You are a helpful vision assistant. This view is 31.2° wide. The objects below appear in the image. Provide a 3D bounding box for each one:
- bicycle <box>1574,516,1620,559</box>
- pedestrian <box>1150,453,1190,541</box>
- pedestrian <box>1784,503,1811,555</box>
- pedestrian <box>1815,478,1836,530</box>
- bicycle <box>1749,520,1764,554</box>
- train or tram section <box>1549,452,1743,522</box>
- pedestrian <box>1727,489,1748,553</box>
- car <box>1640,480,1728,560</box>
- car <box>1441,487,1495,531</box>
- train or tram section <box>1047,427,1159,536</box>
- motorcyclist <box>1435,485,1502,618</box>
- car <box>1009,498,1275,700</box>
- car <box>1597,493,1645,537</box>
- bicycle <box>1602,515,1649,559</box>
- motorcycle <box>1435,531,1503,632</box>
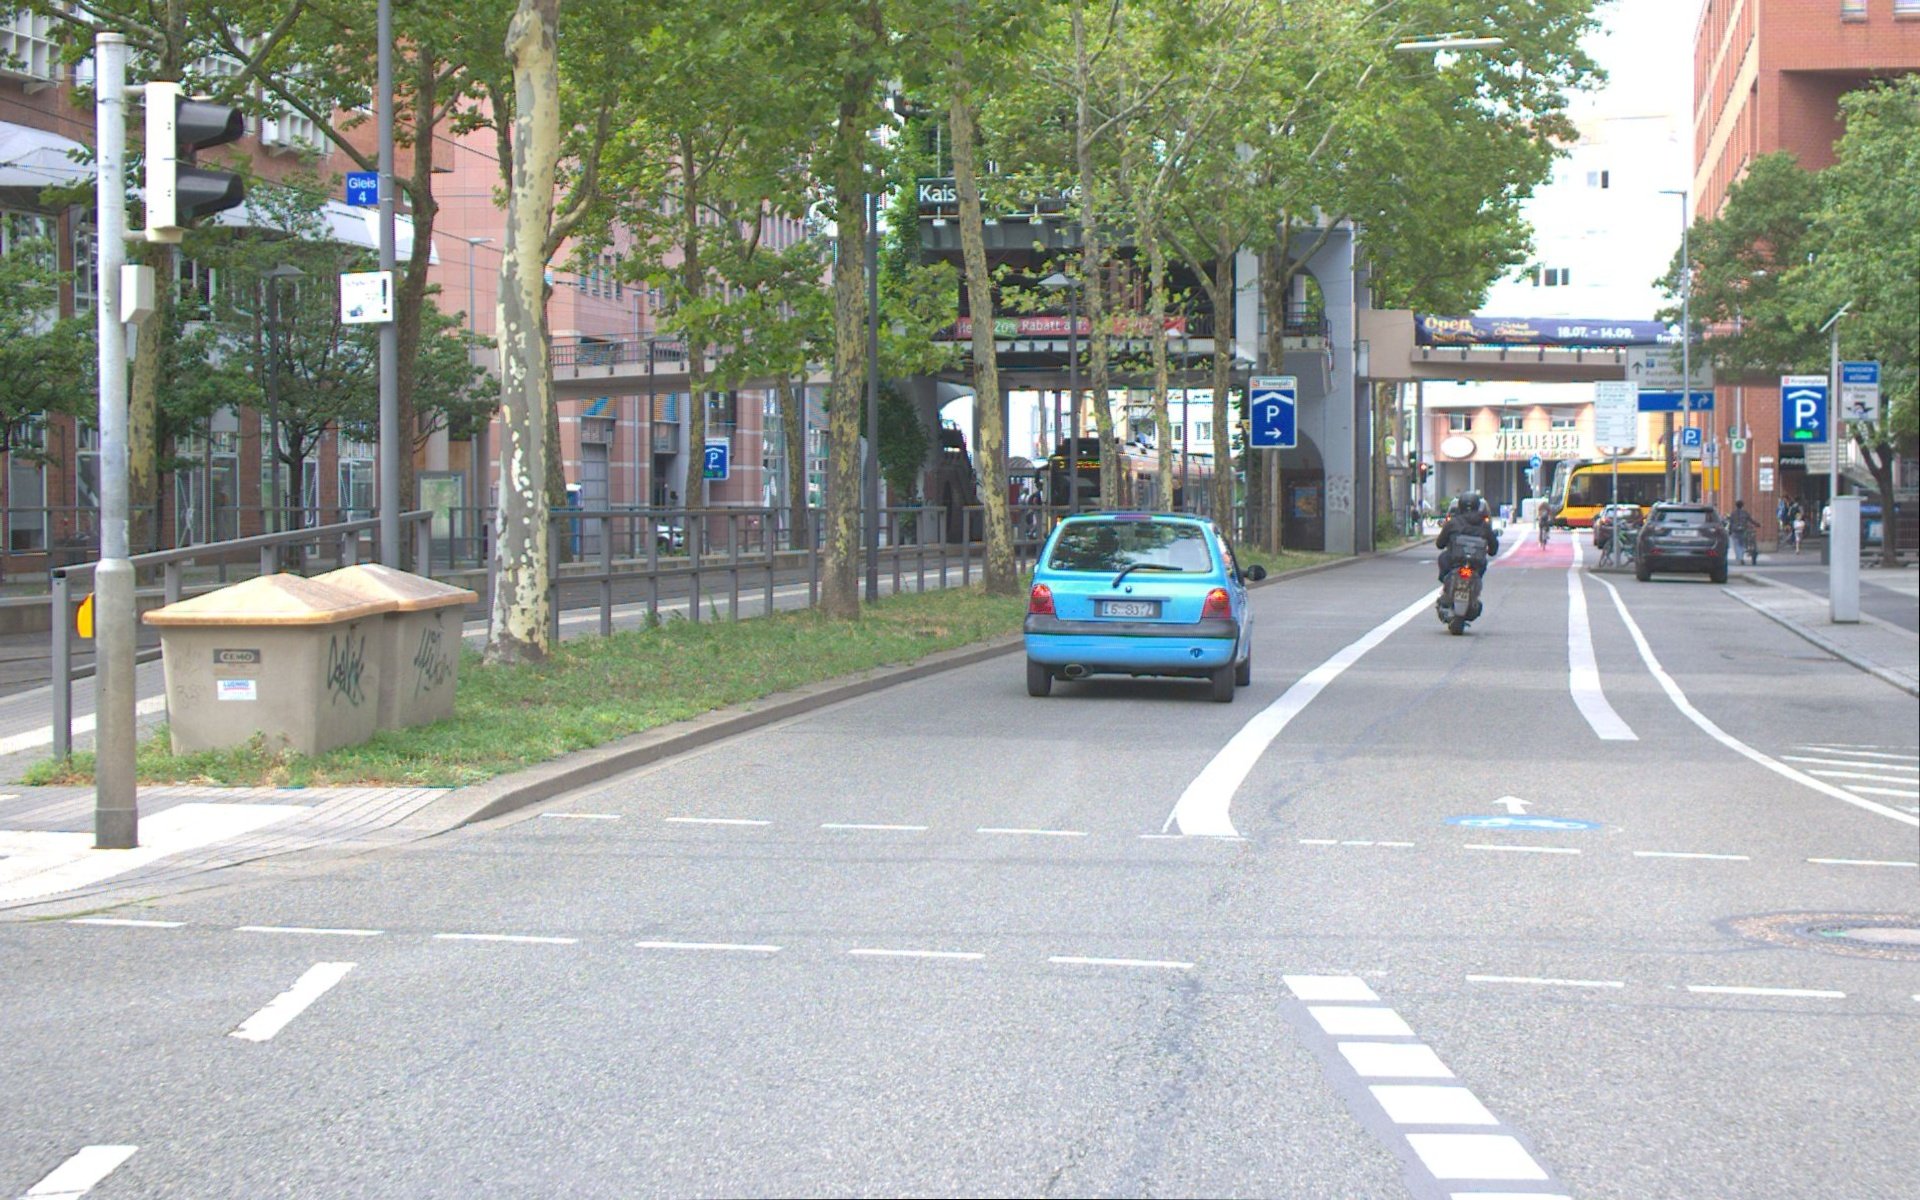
[{"bbox_3d":[15.324,-1.514,82.744,0.563,1.005,2.010,0,2,-5],"label":"bicycle"},{"bbox_3d":[4.465,-2.187,72.930,0.728,1.852,0.870,1,2,11],"label":"pedestrian"},{"bbox_3d":[25.465,-2.170,104.530,0.669,1.556,0.728,1,2,6],"label":"pedestrian"},{"bbox_3d":[26.023,-2.889,103.364,0.546,1.556,0.614,1,2,10],"label":"pedestrian"},{"bbox_3d":[21.984,-1.739,94.892,0.356,0.936,1.208,0,2,11],"label":"bicycle"},{"bbox_3d":[32.283,-5.311,161.799,8.786,3.242,2.398,-1,2,-15],"label":"train or tram section"},{"bbox_3d":[21.526,-2.190,95.195,0.510,1.753,0.539,0,2,10],"label":"pedestrian"},{"bbox_3d":[14.930,-1.671,71.065,1.699,1.596,3.999,0,2,11],"label":"car"},{"bbox_3d":[19.793,-3.559,133.954,1.887,1.618,3.999,1,2,11],"label":"car"},{"bbox_3d":[4.525,-3.700,106.953,2.390,3.242,8.815,0,2,10],"label":"train or tram section"},{"bbox_3d":[5.892,-0.568,39.848,0.759,1.514,1.017,0,2,8],"label":"motorcyclist"},{"bbox_3d":[1.488,-0.067,26.840,1.641,1.381,3.842,1,3,9],"label":"car"},{"bbox_3d":[24.476,-3.150,127.318,1.699,1.596,3.999,0,2,11],"label":"car"},{"bbox_3d":[15.994,-1.525,82.681,0.563,1.005,2.010,0,2,-5],"label":"bicycle"},{"bbox_3d":[5.893,-0.233,39.837,0.767,1.103,2.207,0,2,8],"label":"motorcycle"}]
